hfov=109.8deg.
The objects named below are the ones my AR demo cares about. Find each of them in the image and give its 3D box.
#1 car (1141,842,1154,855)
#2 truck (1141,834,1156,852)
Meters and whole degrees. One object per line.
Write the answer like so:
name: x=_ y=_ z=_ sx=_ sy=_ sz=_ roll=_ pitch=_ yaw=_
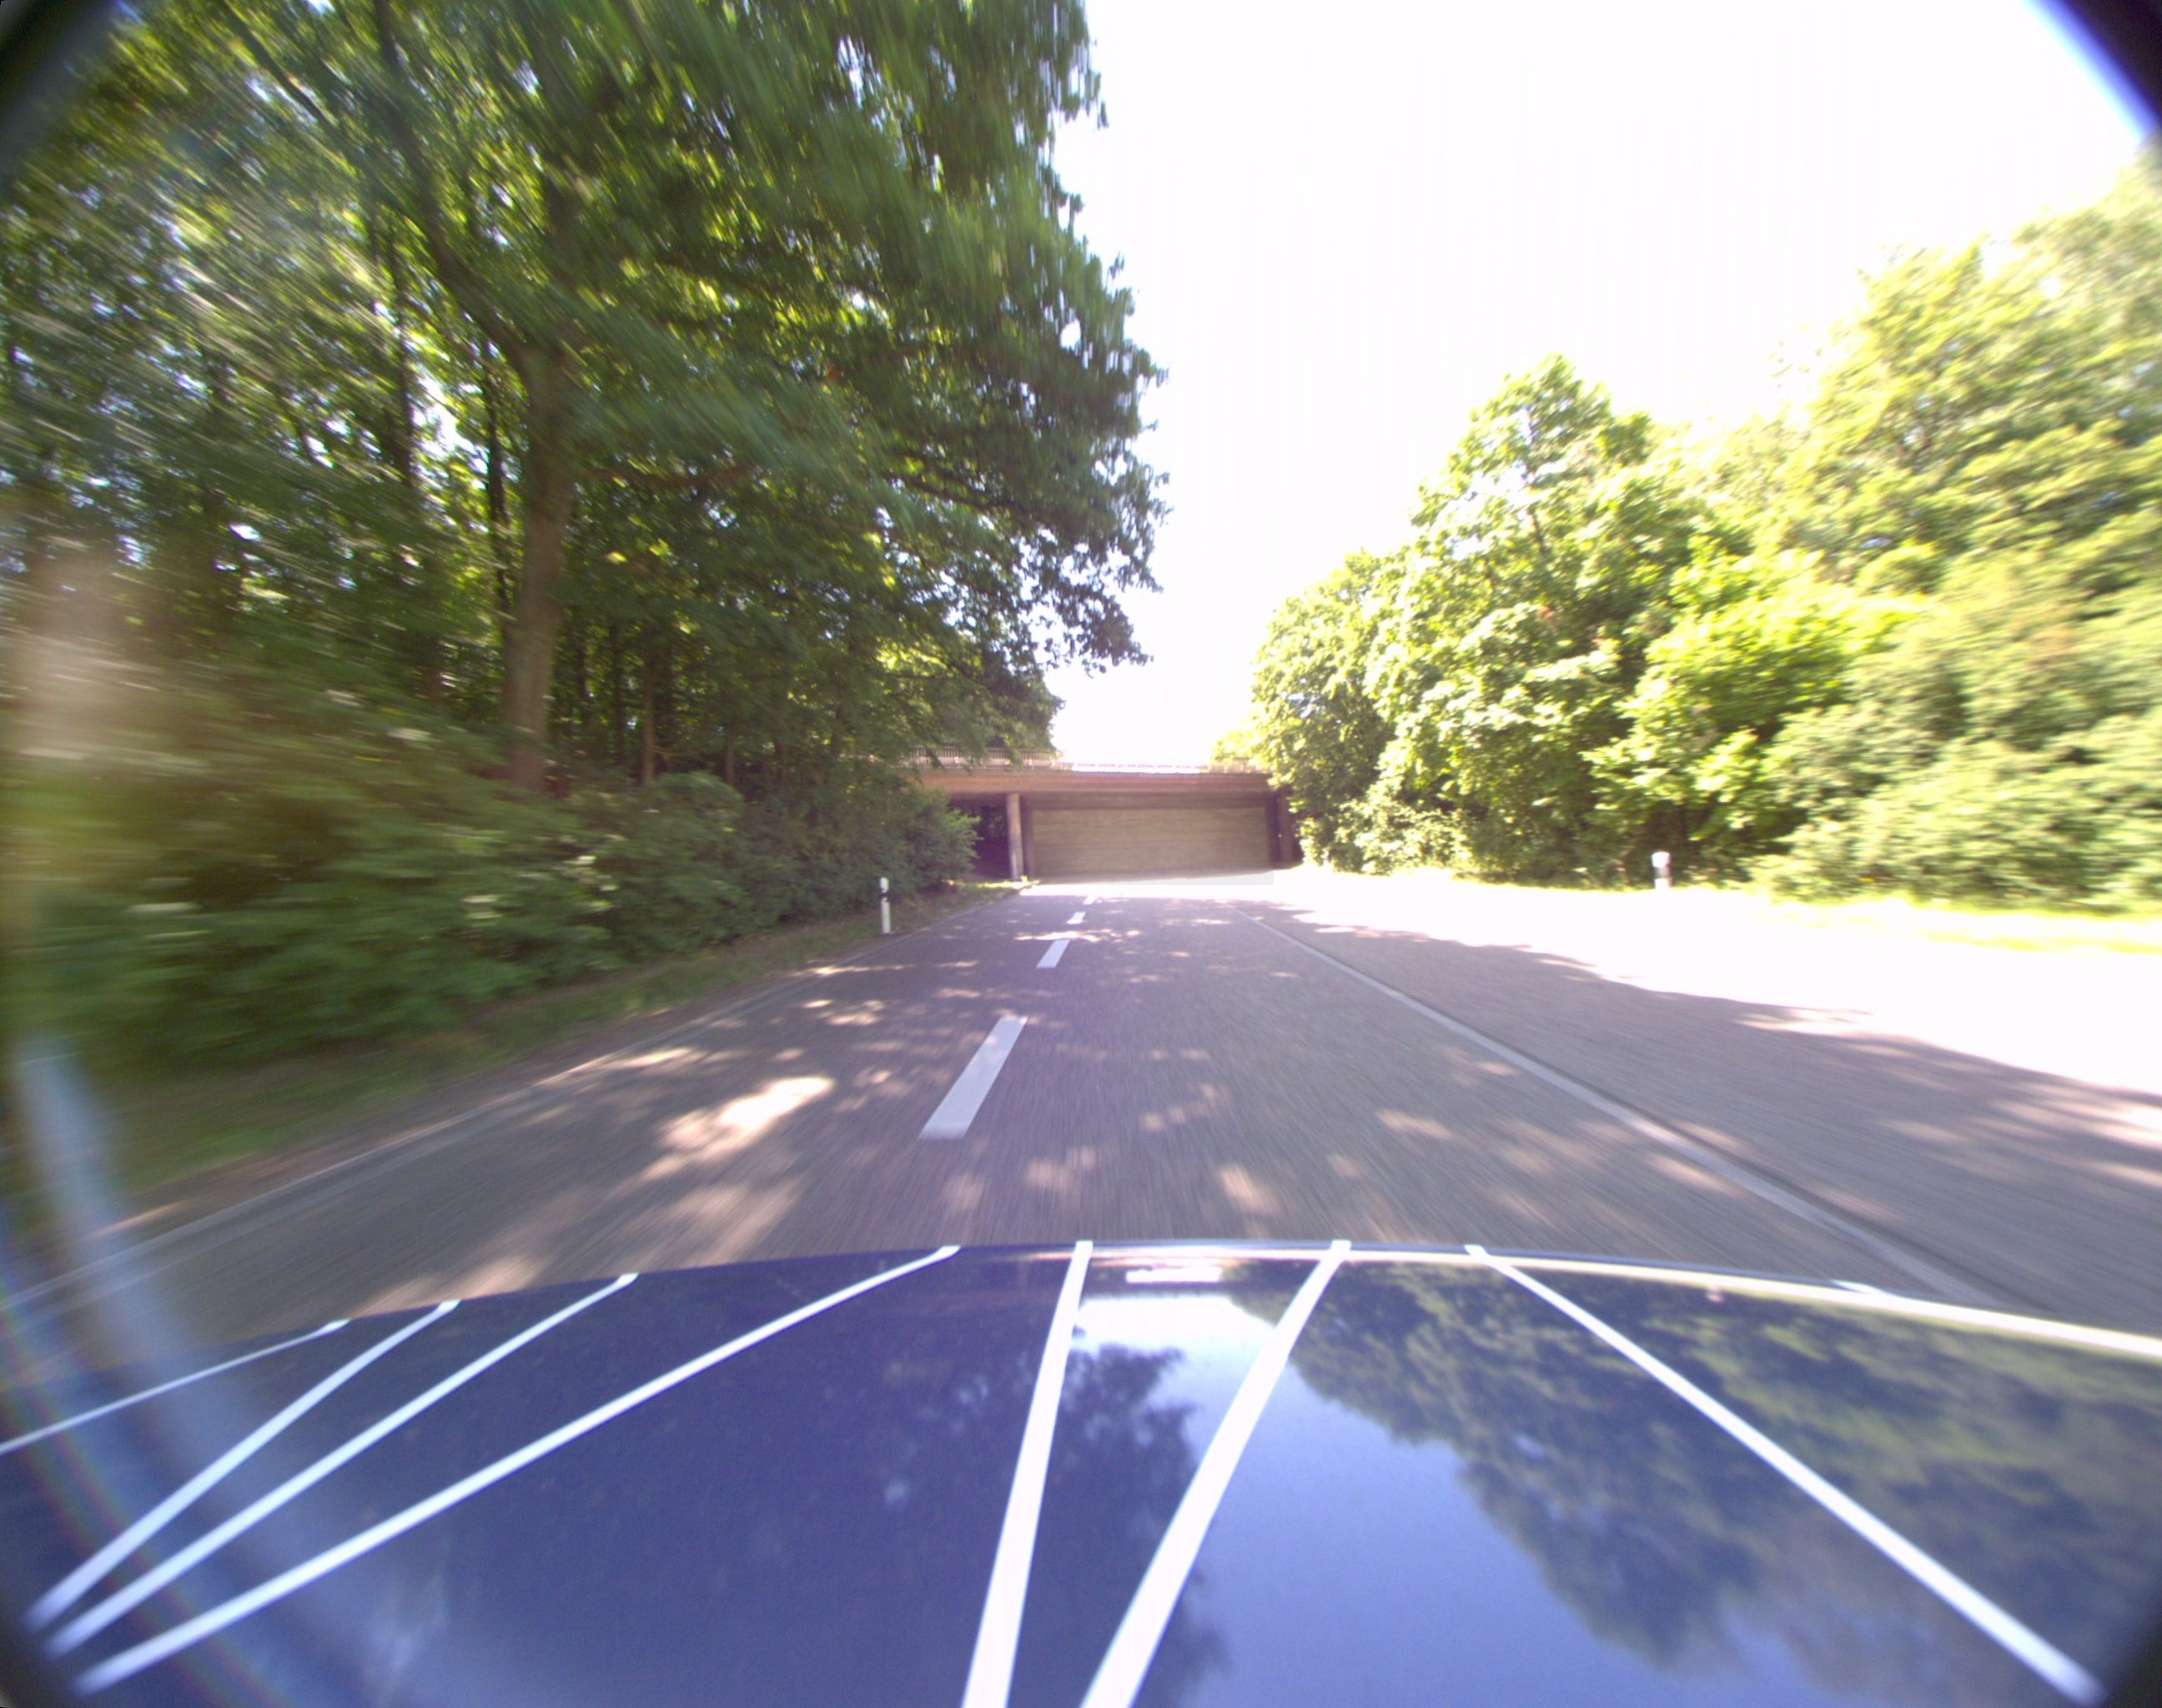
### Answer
car: x=9.799 y=-0.793 z=112.372 sx=1.746 sy=1.833 sz=4.000 roll=-2 pitch=1 yaw=4
truck: x=11.734 y=-1.991 z=132.343 sx=2.457 sy=2.927 sz=6.975 roll=-2 pitch=1 yaw=5
